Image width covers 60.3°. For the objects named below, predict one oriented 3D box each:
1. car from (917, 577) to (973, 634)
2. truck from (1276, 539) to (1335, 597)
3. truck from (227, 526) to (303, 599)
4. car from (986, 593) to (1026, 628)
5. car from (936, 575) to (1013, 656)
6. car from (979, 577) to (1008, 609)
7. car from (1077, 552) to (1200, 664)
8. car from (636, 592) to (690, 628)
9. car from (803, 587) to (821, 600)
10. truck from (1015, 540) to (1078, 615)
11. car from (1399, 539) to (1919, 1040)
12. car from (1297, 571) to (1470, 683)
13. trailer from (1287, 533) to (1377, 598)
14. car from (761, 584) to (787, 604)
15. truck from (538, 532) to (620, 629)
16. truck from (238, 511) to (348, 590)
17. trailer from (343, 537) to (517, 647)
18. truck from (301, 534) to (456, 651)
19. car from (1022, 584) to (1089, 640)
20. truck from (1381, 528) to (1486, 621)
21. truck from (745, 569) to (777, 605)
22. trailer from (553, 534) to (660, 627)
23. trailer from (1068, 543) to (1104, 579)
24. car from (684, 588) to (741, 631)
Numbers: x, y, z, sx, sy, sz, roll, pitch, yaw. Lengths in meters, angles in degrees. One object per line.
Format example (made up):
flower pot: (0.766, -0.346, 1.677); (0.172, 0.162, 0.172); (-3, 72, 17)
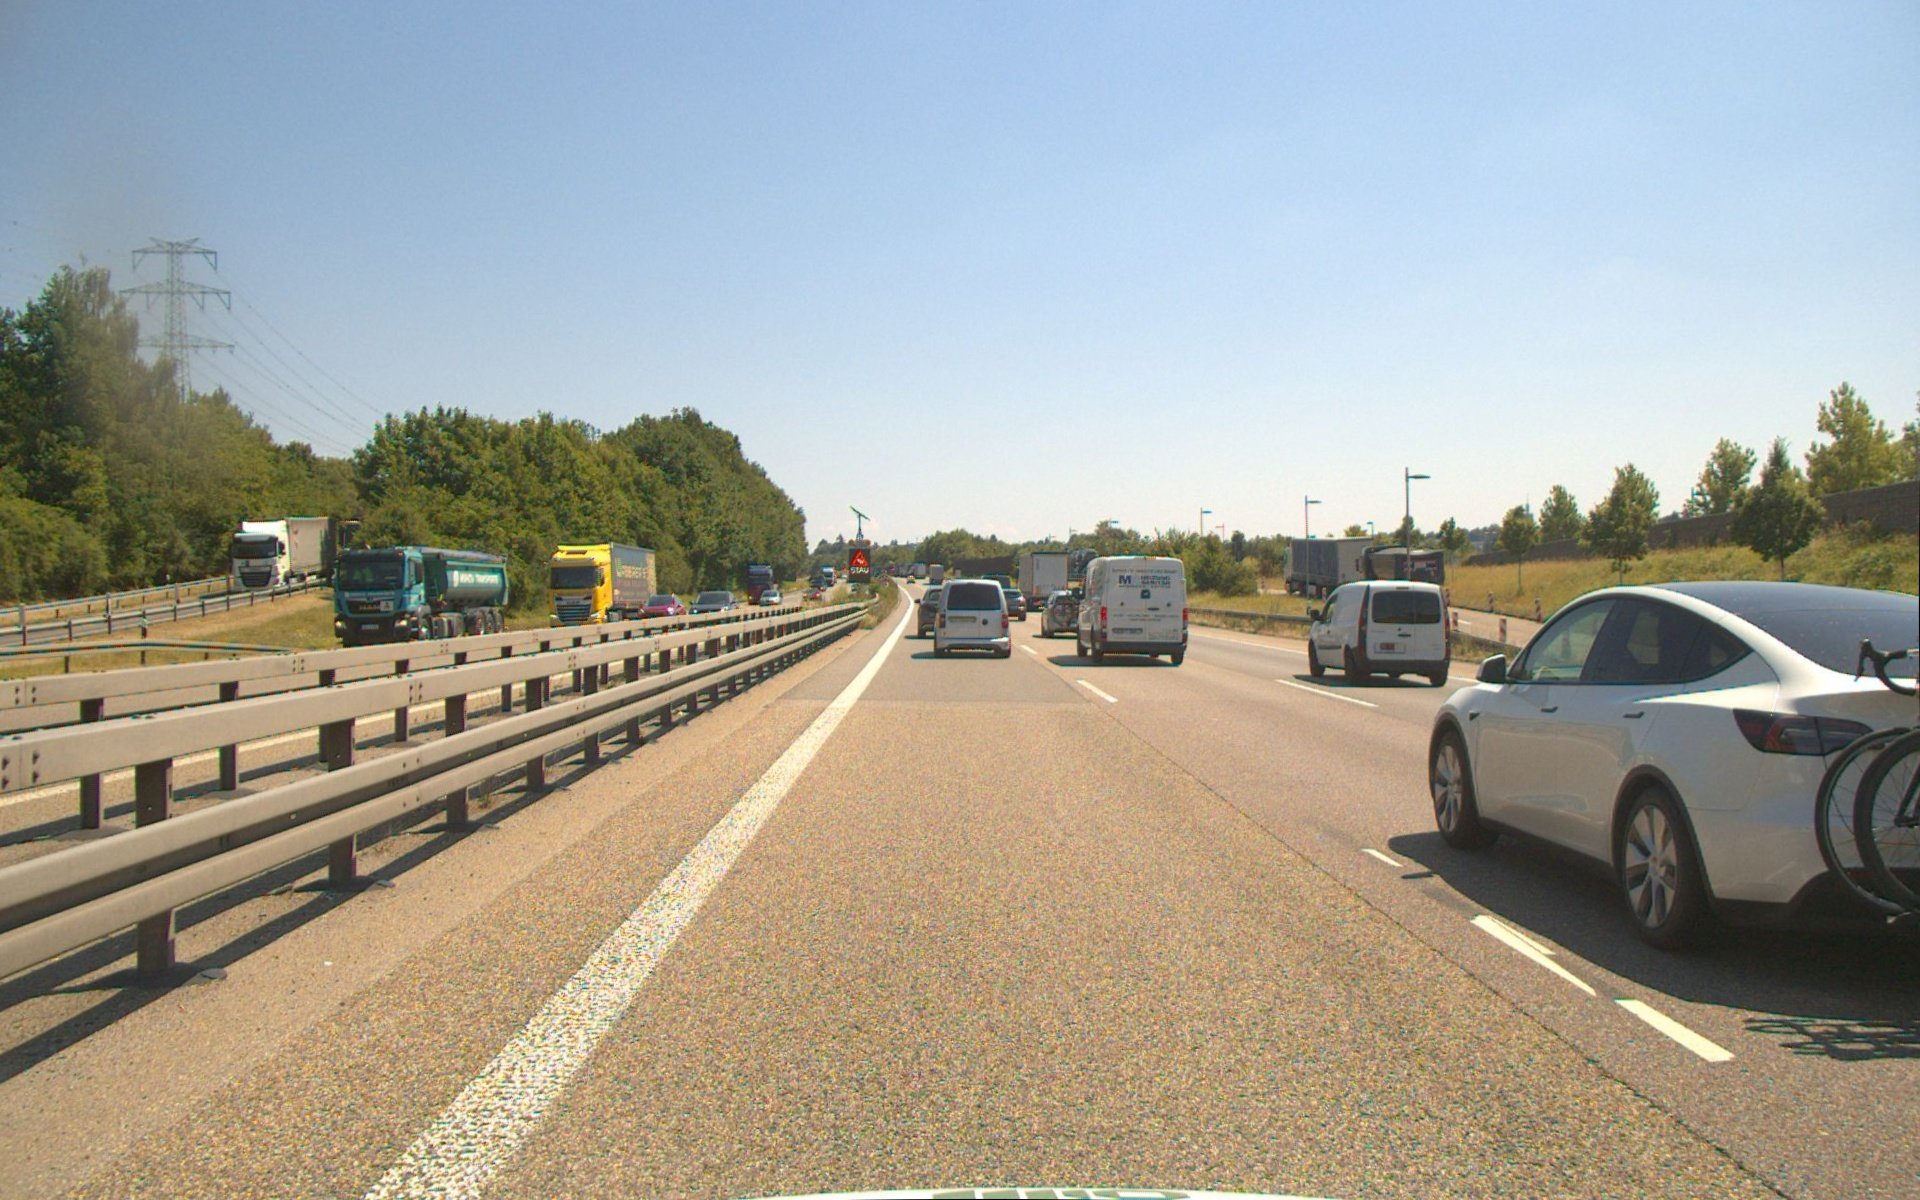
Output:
car: (-0.477, 0.159, 53.339); (1.709, 1.731, 4.088); (-1, 0, 0)
truck: (25.463, -2.319, 122.249); (2.990, 4.154, 6.398); (1, 0, 0)
truck: (-38.687, -2.155, 92.228); (2.890, 3.963, 4.316); (-1, 2, -9)
car: (2.306, 0.491, 83.473); (1.863, 1.701, 4.088); (-1, 0, 0)
car: (0.312, 0.338, 39.019); (1.709, 1.795, 4.088); (-1, 0, 0)
car: (2.041, -0.441, 101.093); (1.640, 1.925, 4.088); (-1, 0, 0)
car: (3.922, 0.151, 37.213); (2.137, 2.293, 5.363); (1, 0, 0)
car: (-13.652, 0.436, 76.222); (1.746, 1.557, 4.383); (-3, 0, -2)
car: (-16.692, -0.731, 186.664); (1.733, 1.357, 4.920); (-2, 1, -1)
truck: (6.117, -1.565, 119.079); (3.711, 5.087, 12.517); (1, 0, 0)
car: (3.980, 0.634, 8.330); (1.911, 1.665, 5.599); (1, 0, -1)
car: (7.631, 0.447, 30.215); (1.911, 1.870, 4.176); (-1, 0, -2)
trailer: (25.482, -2.284, 114.181); (2.990, 4.154, 14.258); (1, 0, 0)
car: (-15.268, -0.472, 136.125); (1.746, 1.557, 3.882); (-3, 0, -2)
truck: (-17.754, -0.913, 77.247); (3.111, 4.417, 3.511); (-1, 0, -3)
truck: (-39.814, -3.085, 99.366); (2.941, 4.416, 14.519); (-1, 3, -9)
trailer: (-17.635, -0.272, 55.847); (2.855, 3.358, 9.708); (-1, 0, -1)
truck: (-17.518, -0.239, 50.204); (2.855, 3.358, 5.330); (-1, 0, -1)
car: (3.150, 0.373, 55.220); (1.935, 1.763, 4.088); (-1, 0, 0)
truck: (22.973, -1.159, 80.965); (3.707, 4.154, 12.529); (1, 0, 10)
truck: (-20.429, -1.321, 170.169); (2.935, 3.621, 3.117); (-1, 0, -2)
trailer: (-18.134, -0.996, 85.916); (3.111, 4.417, 13.806); (-1, 0, -3)
trailer: (16.250, -4.950, 214.668); (2.553, 4.332, 18.415); (1, 0, -2)
car: (-9.896, 0.366, 66.412); (1.746, 1.653, 3.999); (-1, 0, -1)
